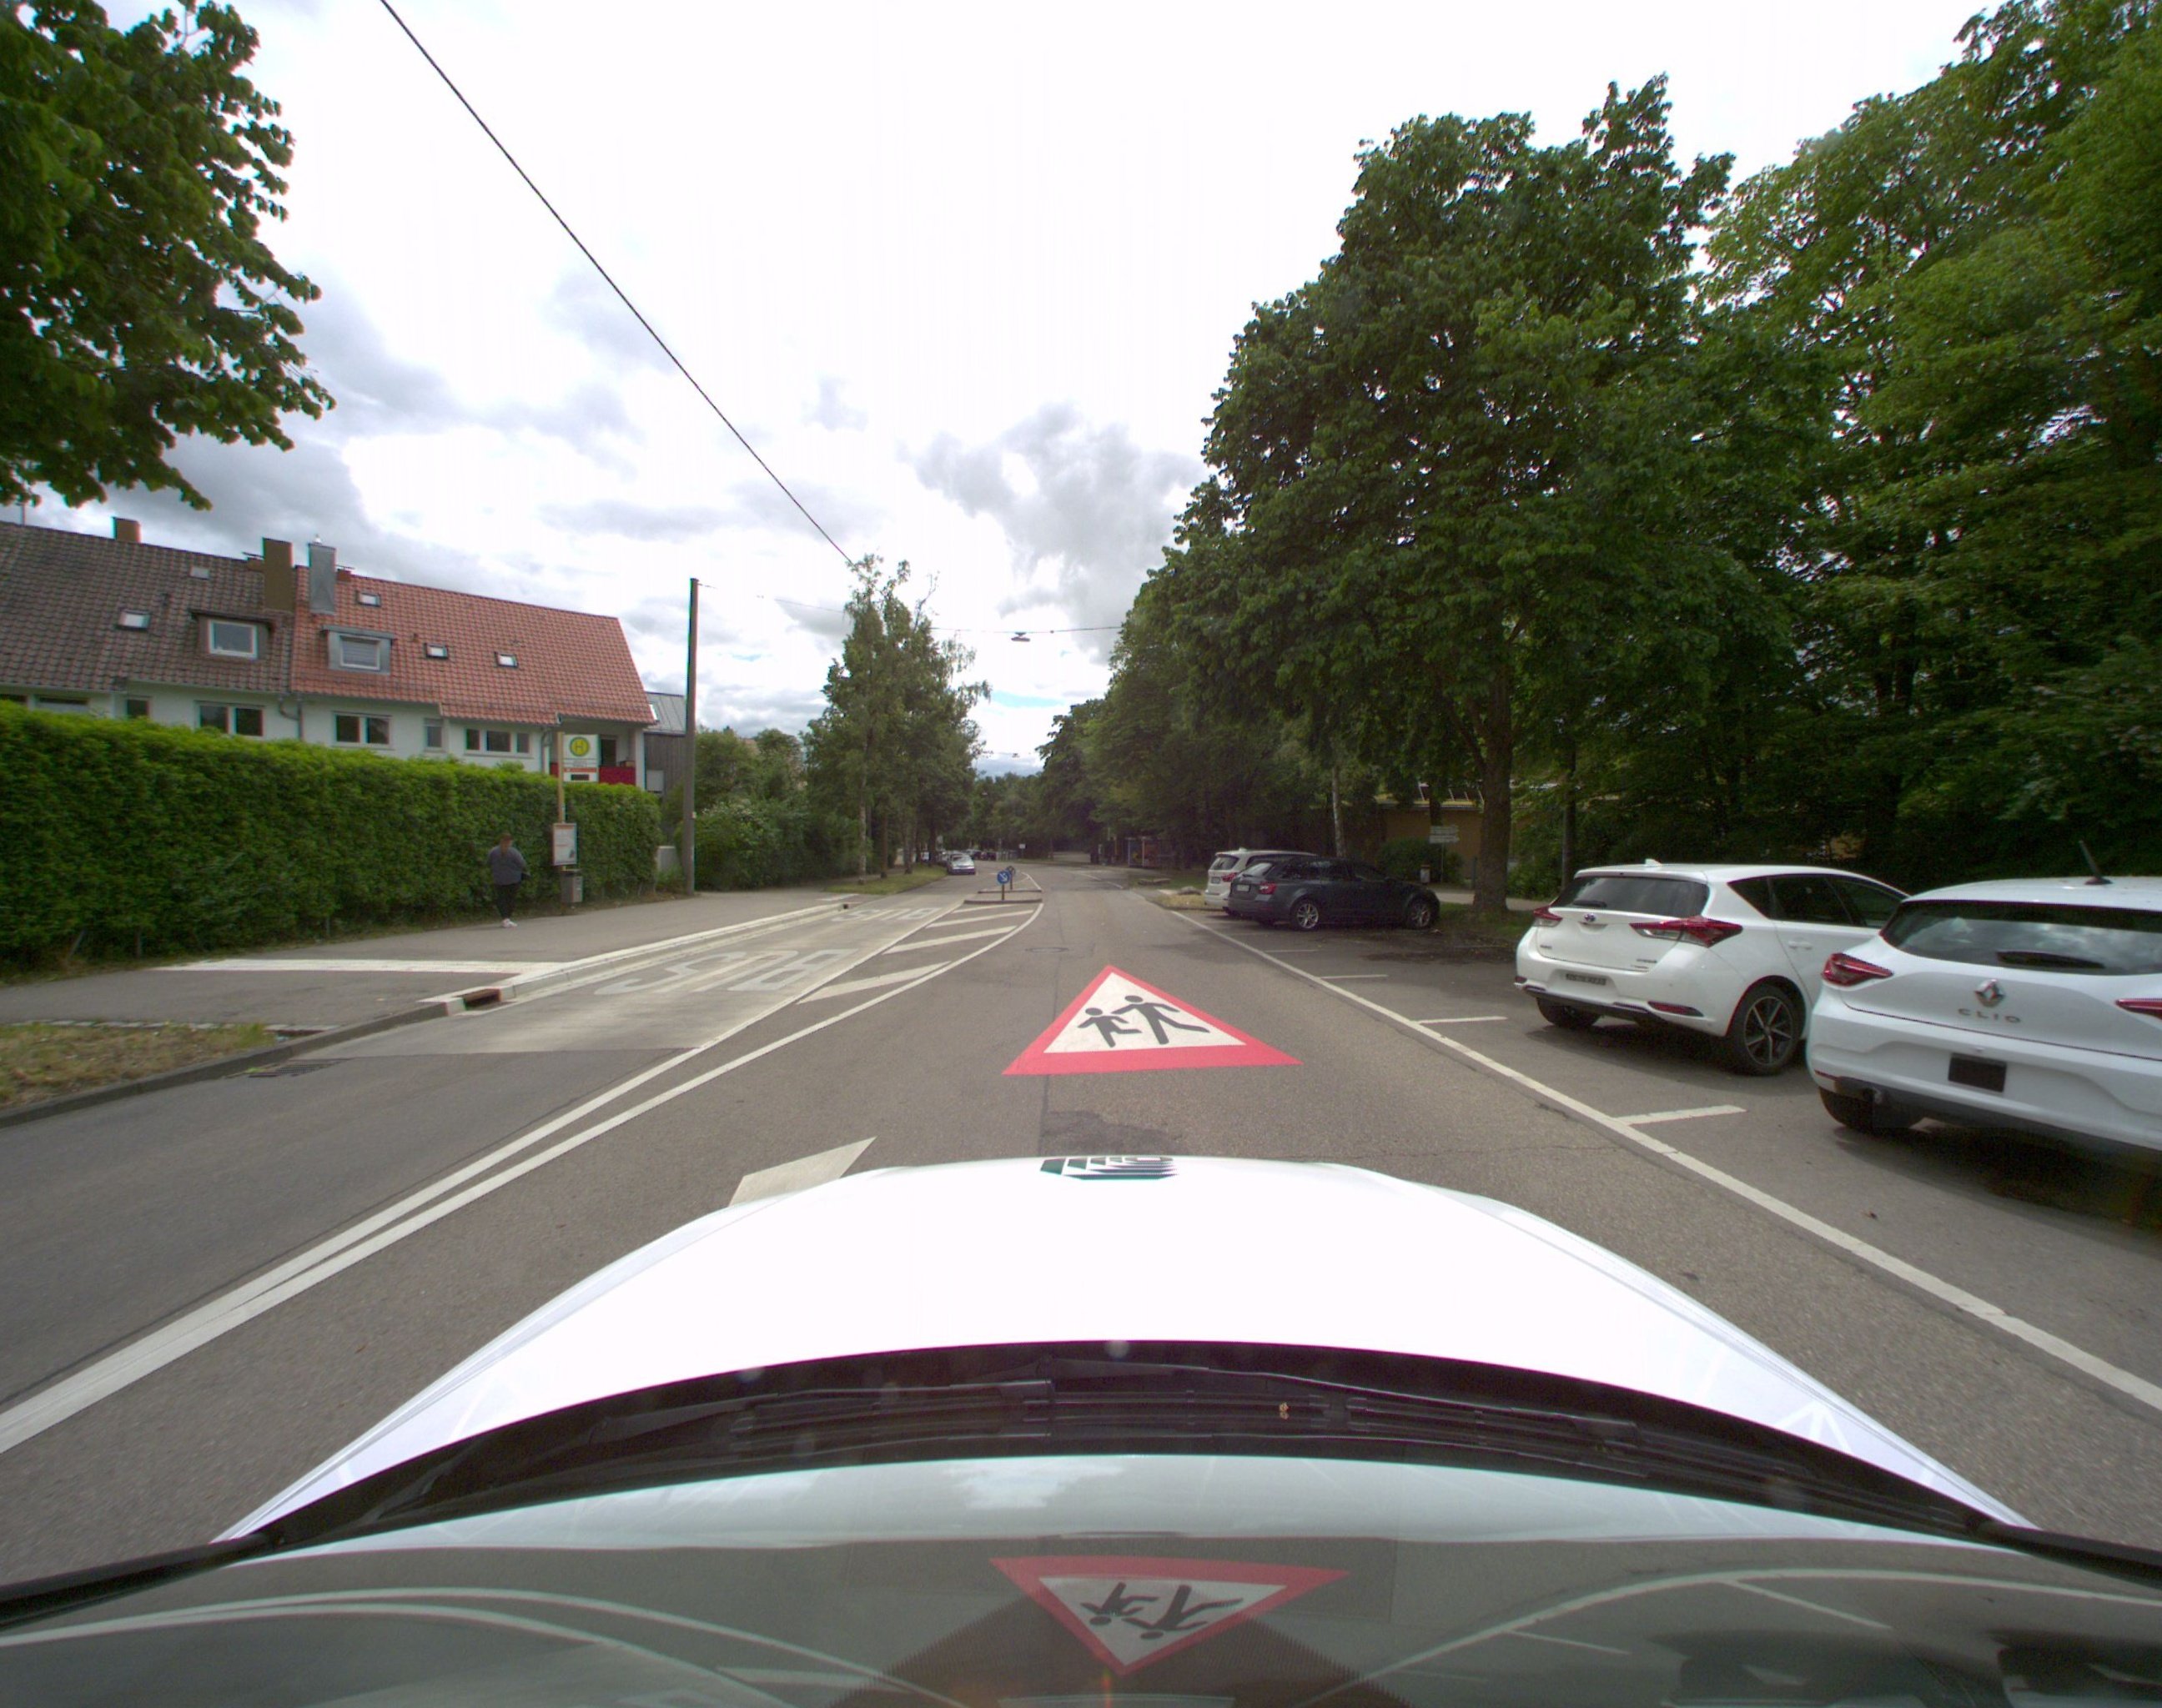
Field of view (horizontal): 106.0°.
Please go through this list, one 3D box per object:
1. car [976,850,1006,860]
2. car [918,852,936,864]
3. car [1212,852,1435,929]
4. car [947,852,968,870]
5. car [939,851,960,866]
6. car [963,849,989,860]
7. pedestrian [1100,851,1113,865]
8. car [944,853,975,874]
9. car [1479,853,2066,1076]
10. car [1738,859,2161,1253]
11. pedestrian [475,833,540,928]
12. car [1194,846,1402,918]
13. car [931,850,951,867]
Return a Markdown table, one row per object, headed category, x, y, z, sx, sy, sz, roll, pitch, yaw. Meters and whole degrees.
| category | x | y | z | sx | sy | sz | roll | pitch | yaw |
| --- | --- | --- | --- | --- | --- | --- | --- | --- | --- |
| car | -13.377 | 0.168 | 121.254 | 4.021 | 1.414 | 2.033 | 2 | 0 | -41 |
| car | -21.516 | 0.538 | 113.555 | 1.811 | 1.563 | 4.238 | -4 | 1 | -20 |
| car | 4.993 | 0.724 | 16.860 | 4.142 | 1.464 | 1.788 | 1 | 0 | -17 |
| car | -11.703 | 0.659 | 77.092 | 1.736 | 1.578 | 4.126 | -2 | 0 | -11 |
| car | -14.250 | 0.504 | 88.217 | 1.869 | 1.538 | 4.207 | -1 | 0 | -14 |
| car | -16.943 | 0.060 | 131.553 | 3.851 | 1.720 | 1.856 | 2 | -2 | -41 |
| pedestrian | 2.327 | 0.360 | 74.403 | 1.065 | 1.182 | 0.577 | -1 | 0 | -14 |
| car | -8.906 | 0.677 | 59.449 | 1.738 | 1.416 | 4.451 | -2 | 0 | -14 |
| car | 5.658 | 0.759 | 6.799 | 3.995 | 1.464 | 1.856 | 1 | 0 | -16 |
| car | 5.820 | 0.796 | 4.217 | 3.994 | 1.464 | 1.787 | 1 | 0 | -15 |
| pedestrian | -10.545 | 0.470 | 14.995 | 0.691 | 1.710 | 0.776 | 0 | 0 | -8 |
| car | 5.145 | 0.655 | 19.551 | 4.470 | 1.585 | 1.900 | 1 | 0 | -11 |
| car | -16.895 | 0.514 | 97.928 | 1.862 | 1.909 | 5.056 | -1 | 0 | -16 |
